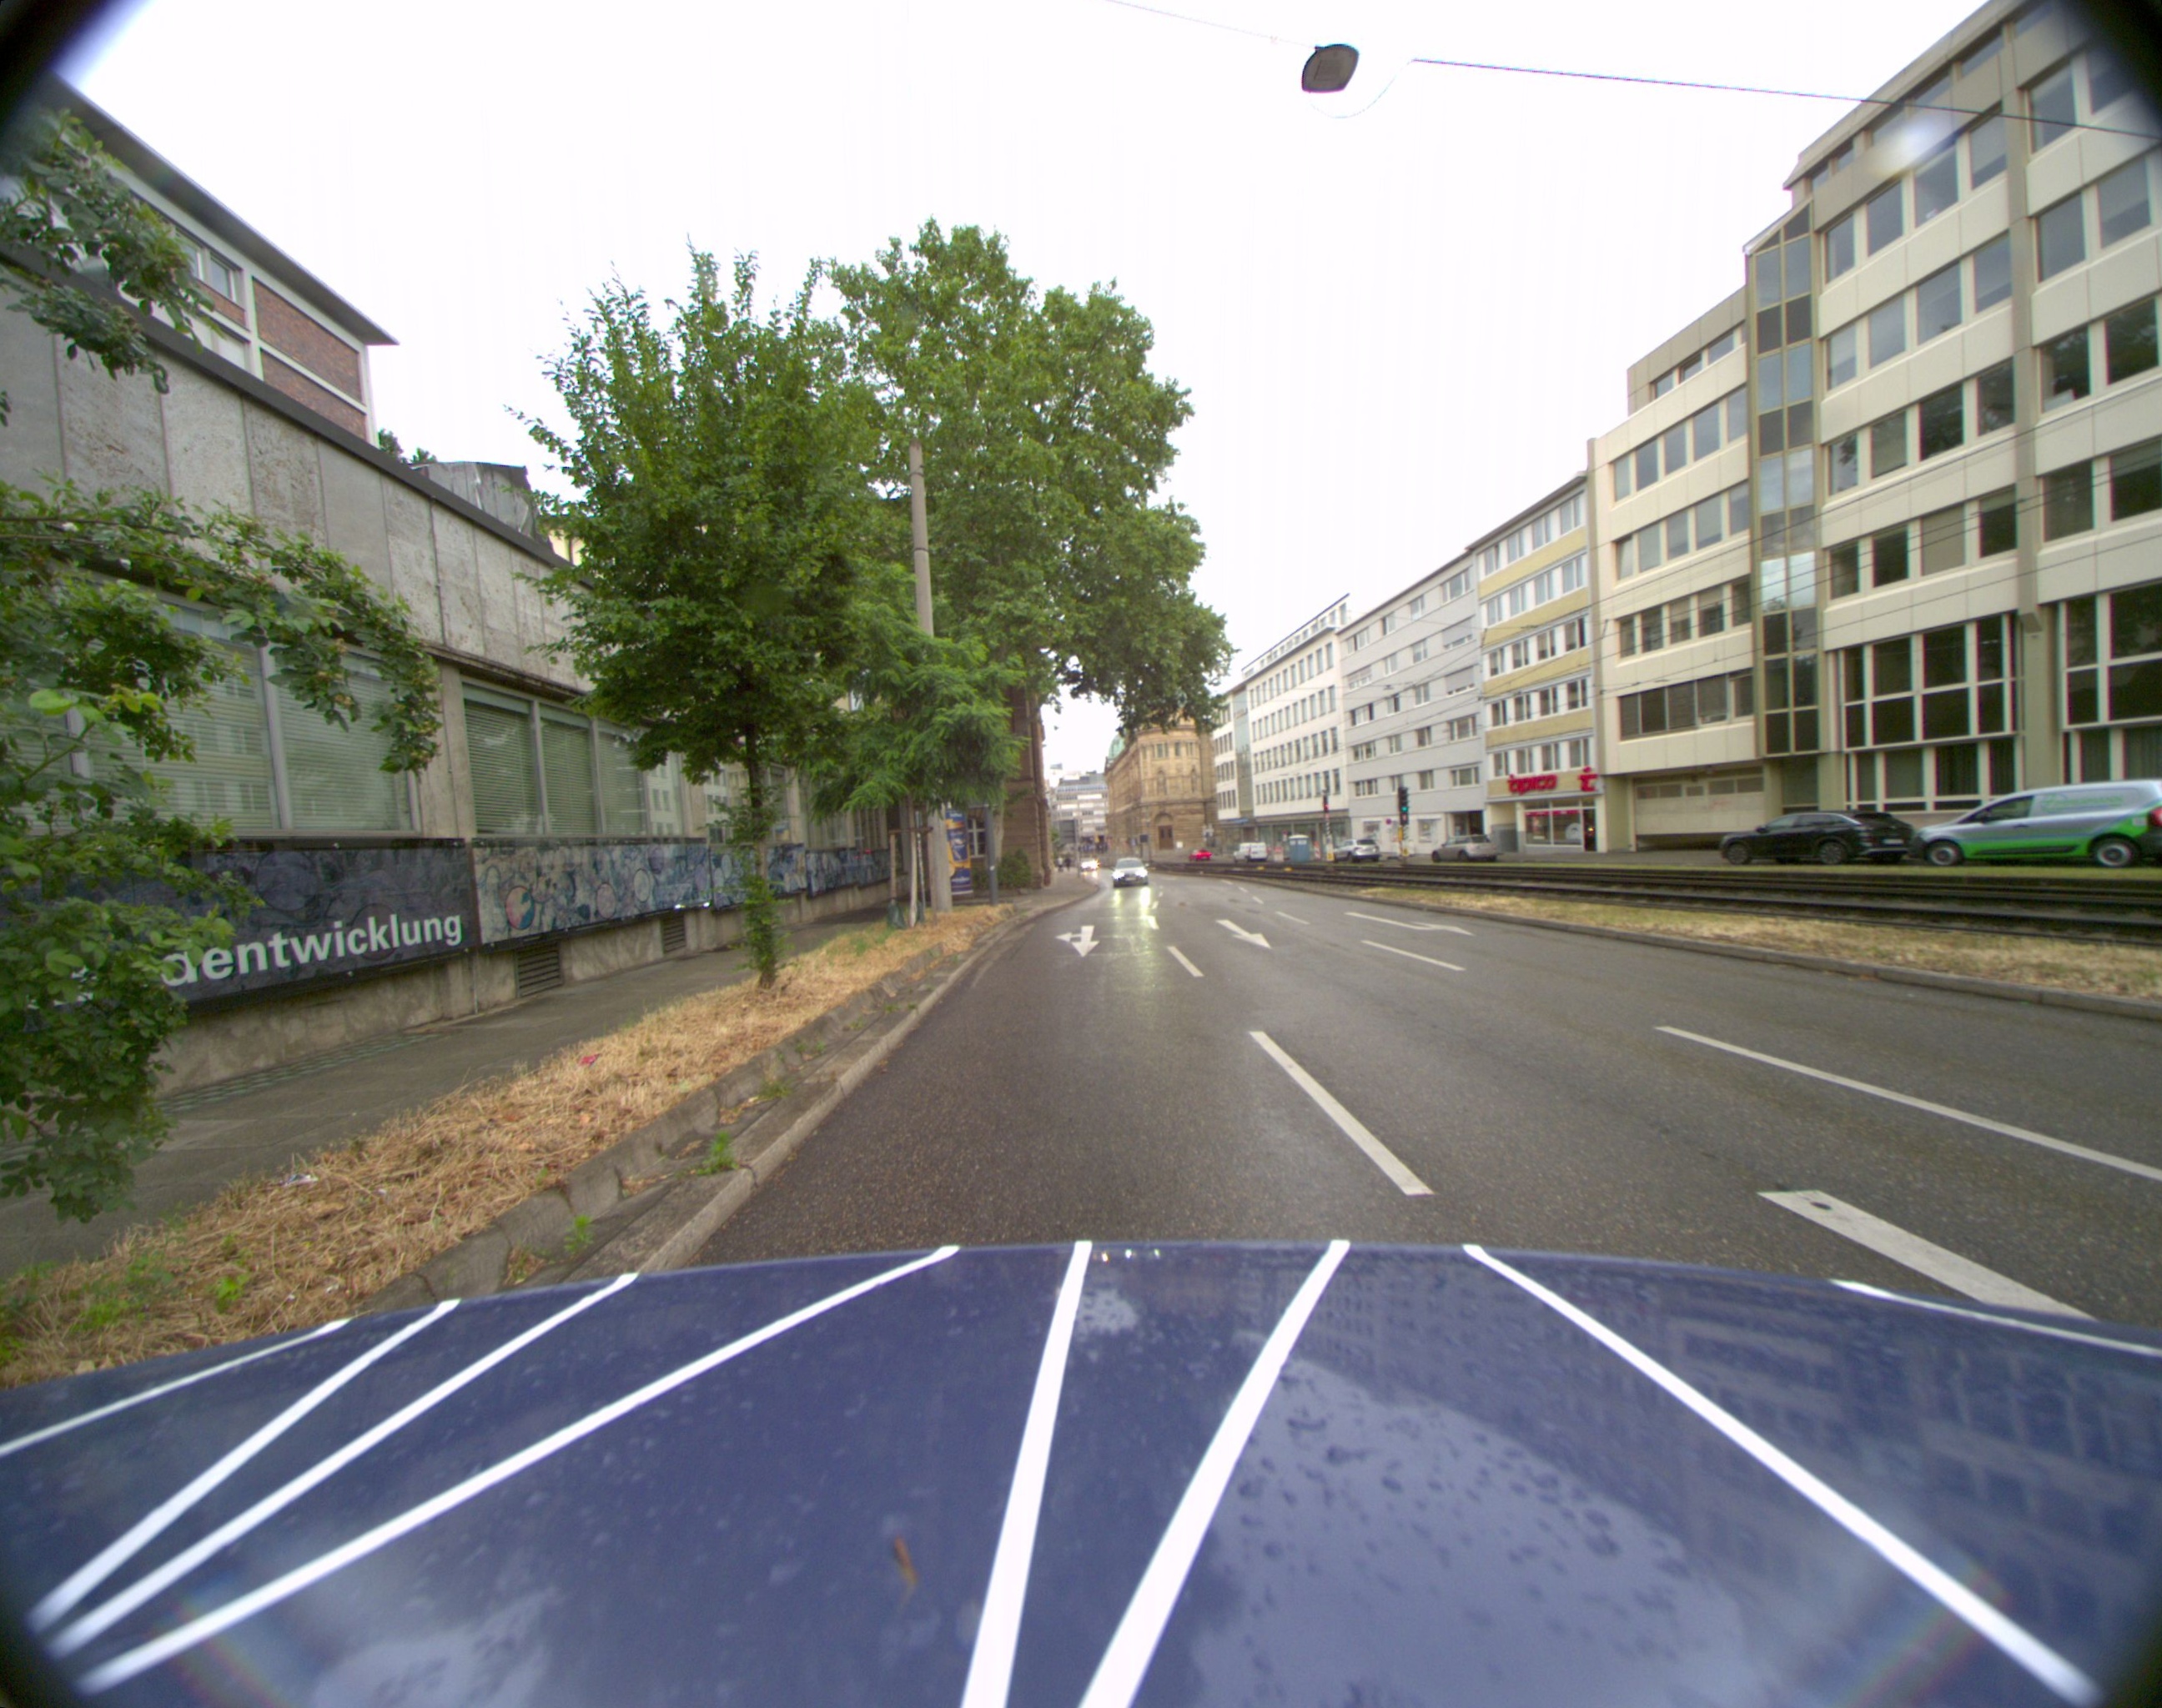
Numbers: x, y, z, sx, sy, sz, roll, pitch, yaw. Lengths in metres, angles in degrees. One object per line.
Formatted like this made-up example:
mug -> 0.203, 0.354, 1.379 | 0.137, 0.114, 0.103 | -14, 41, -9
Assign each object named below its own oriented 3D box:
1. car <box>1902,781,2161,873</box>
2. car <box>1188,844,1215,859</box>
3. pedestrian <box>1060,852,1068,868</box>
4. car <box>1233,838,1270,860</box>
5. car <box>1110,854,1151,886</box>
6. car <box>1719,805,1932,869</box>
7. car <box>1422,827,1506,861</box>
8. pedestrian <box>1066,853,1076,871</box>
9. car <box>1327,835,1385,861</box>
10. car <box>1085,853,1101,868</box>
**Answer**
car -> 21.505, -0.576, 16.802 | 1.801, 1.736, 4.213 | -5, 1, -8
car -> 14.550, -0.349, 92.102 | 1.890, 1.615, 4.474 | -5, 1, -7
pedestrian -> -1.895, 0.619, 83.032 | 0.719, 1.630, 0.760 | -5, 2, 1
car -> 16.328, -0.487, 72.946 | 1.890, 1.924, 4.474 | -5, 1, -7
car -> 2.534, 0.804, 39.758 | 1.811, 1.426, 4.297 | -3, 1, 1
car -> 21.067, -0.460, 21.764 | 1.801, 1.505, 4.075 | -5, 1, -7
car -> 19.493, -0.487, 38.899 | 1.801, 1.505, 4.075 | -5, 1, -7
pedestrian -> -0.965, 0.787, 72.851 | 0.719, 1.630, 0.760 | -5, 2, 10
car -> 18.169, -0.408, 50.443 | 1.890, 1.505, 4.075 | -5, 1, -7
car -> 1.331, 0.704, 83.537 | 1.654, 1.426, 3.439 | -2, 1, 0
